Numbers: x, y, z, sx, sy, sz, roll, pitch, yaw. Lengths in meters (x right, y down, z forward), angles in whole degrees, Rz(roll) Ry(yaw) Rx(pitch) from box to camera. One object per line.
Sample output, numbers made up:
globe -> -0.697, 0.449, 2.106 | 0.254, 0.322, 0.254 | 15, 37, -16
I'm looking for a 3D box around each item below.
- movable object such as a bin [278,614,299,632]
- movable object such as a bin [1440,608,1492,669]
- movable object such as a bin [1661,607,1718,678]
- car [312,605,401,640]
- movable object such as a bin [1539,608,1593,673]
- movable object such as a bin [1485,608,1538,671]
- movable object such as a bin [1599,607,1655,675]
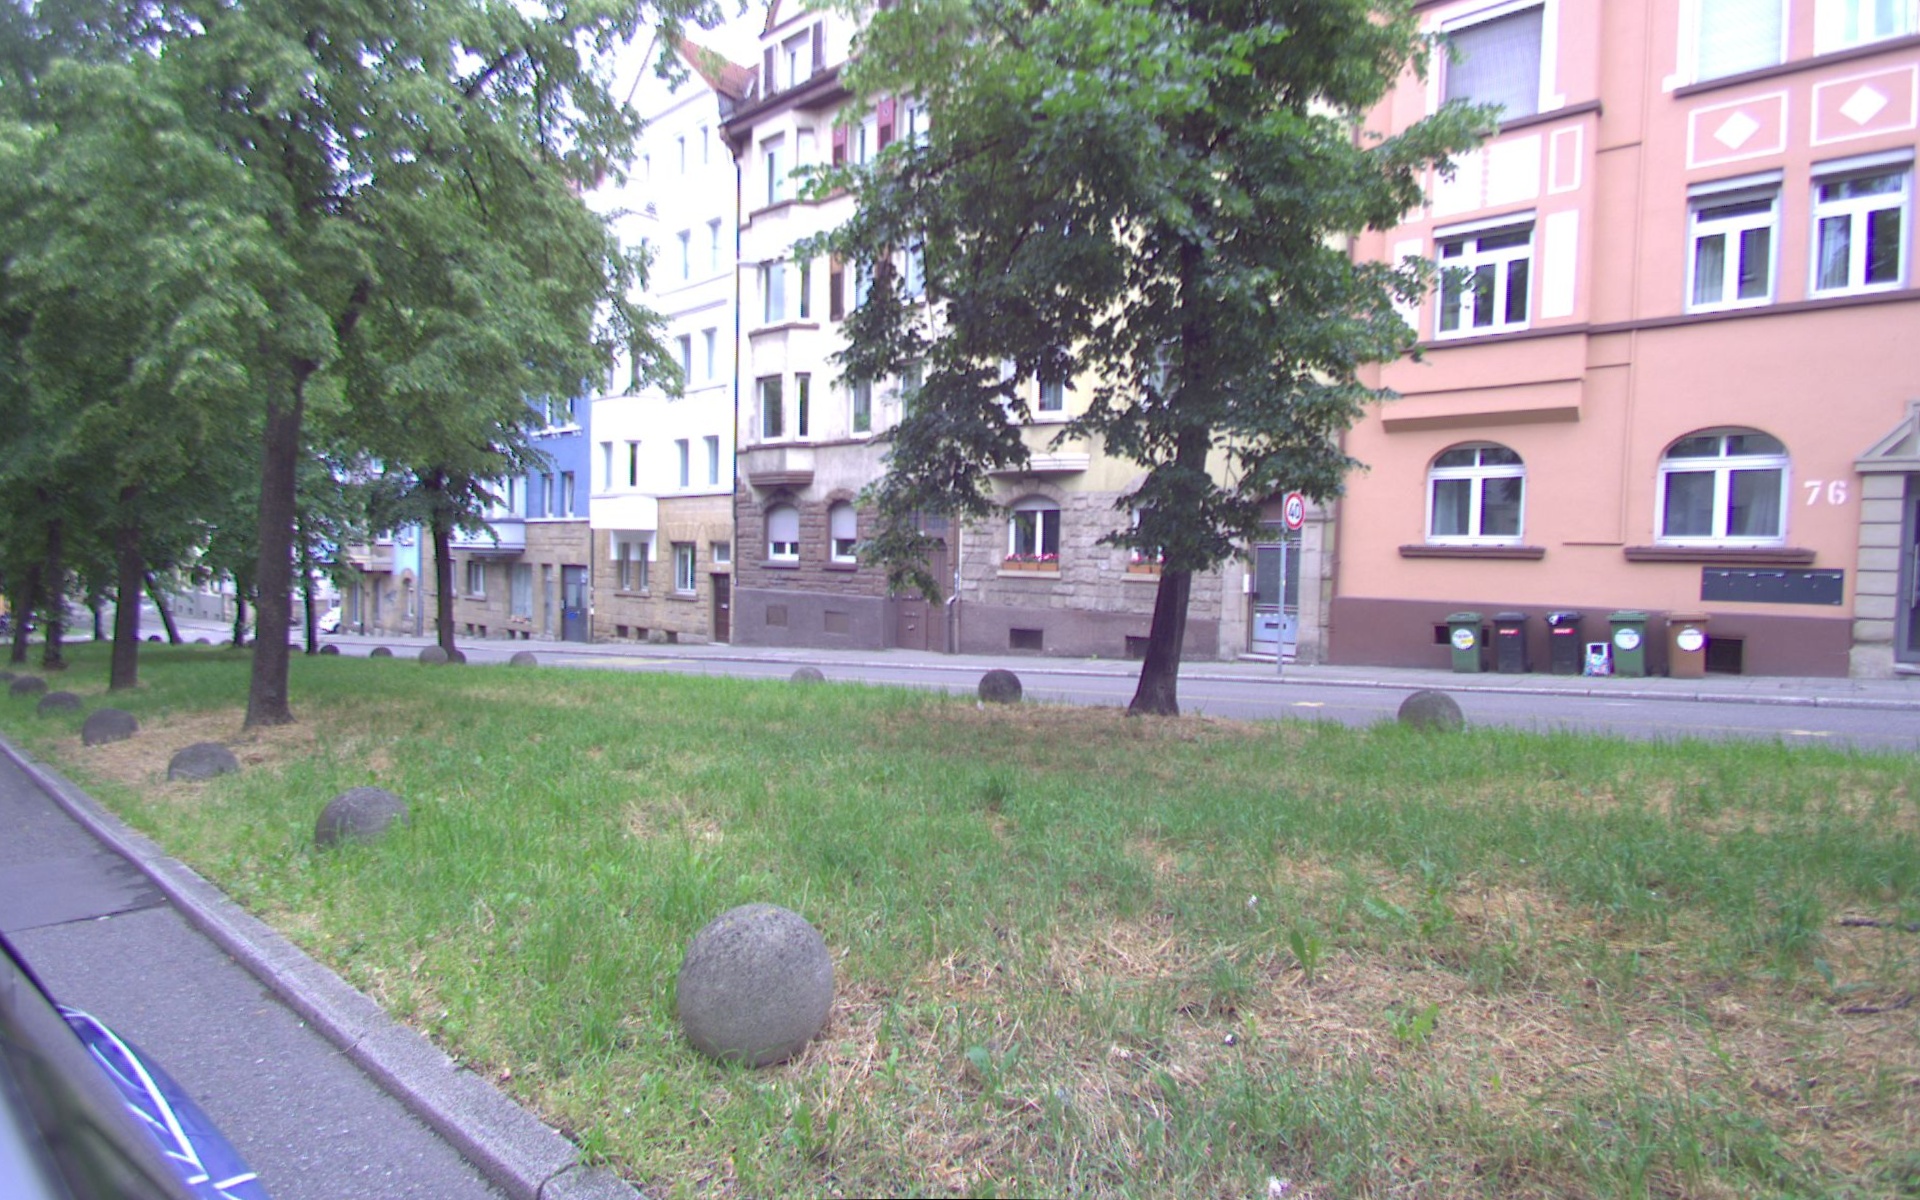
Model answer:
movable object such as a bin -> -41.189, 1.395, 62.105 | 0.668, 1.001, 0.876 | 0, 3, 40
movable object such as a bin -> 7.907, 0.595, 15.803 | 0.601, 0.911, 0.603 | -1, 1, 38
movable object such as a bin -> 10.014, 0.572, 13.889 | 0.601, 0.911, 0.603 | -1, 1, 38
car -> -34.842, 1.262, 58.482 | 1.870, 1.480, 3.959 | 2, 7, 39
movable object such as a bin -> 8.940, 0.582, 14.922 | 0.601, 0.911, 0.603 | -1, 1, 38
movable object such as a bin -> 8.374, 0.594, 15.372 | 0.601, 0.911, 0.603 | -1, 1, 38
movable object such as a bin -> 9.490, 0.576, 14.396 | 0.601, 0.911, 0.603 | -1, 1, 38
